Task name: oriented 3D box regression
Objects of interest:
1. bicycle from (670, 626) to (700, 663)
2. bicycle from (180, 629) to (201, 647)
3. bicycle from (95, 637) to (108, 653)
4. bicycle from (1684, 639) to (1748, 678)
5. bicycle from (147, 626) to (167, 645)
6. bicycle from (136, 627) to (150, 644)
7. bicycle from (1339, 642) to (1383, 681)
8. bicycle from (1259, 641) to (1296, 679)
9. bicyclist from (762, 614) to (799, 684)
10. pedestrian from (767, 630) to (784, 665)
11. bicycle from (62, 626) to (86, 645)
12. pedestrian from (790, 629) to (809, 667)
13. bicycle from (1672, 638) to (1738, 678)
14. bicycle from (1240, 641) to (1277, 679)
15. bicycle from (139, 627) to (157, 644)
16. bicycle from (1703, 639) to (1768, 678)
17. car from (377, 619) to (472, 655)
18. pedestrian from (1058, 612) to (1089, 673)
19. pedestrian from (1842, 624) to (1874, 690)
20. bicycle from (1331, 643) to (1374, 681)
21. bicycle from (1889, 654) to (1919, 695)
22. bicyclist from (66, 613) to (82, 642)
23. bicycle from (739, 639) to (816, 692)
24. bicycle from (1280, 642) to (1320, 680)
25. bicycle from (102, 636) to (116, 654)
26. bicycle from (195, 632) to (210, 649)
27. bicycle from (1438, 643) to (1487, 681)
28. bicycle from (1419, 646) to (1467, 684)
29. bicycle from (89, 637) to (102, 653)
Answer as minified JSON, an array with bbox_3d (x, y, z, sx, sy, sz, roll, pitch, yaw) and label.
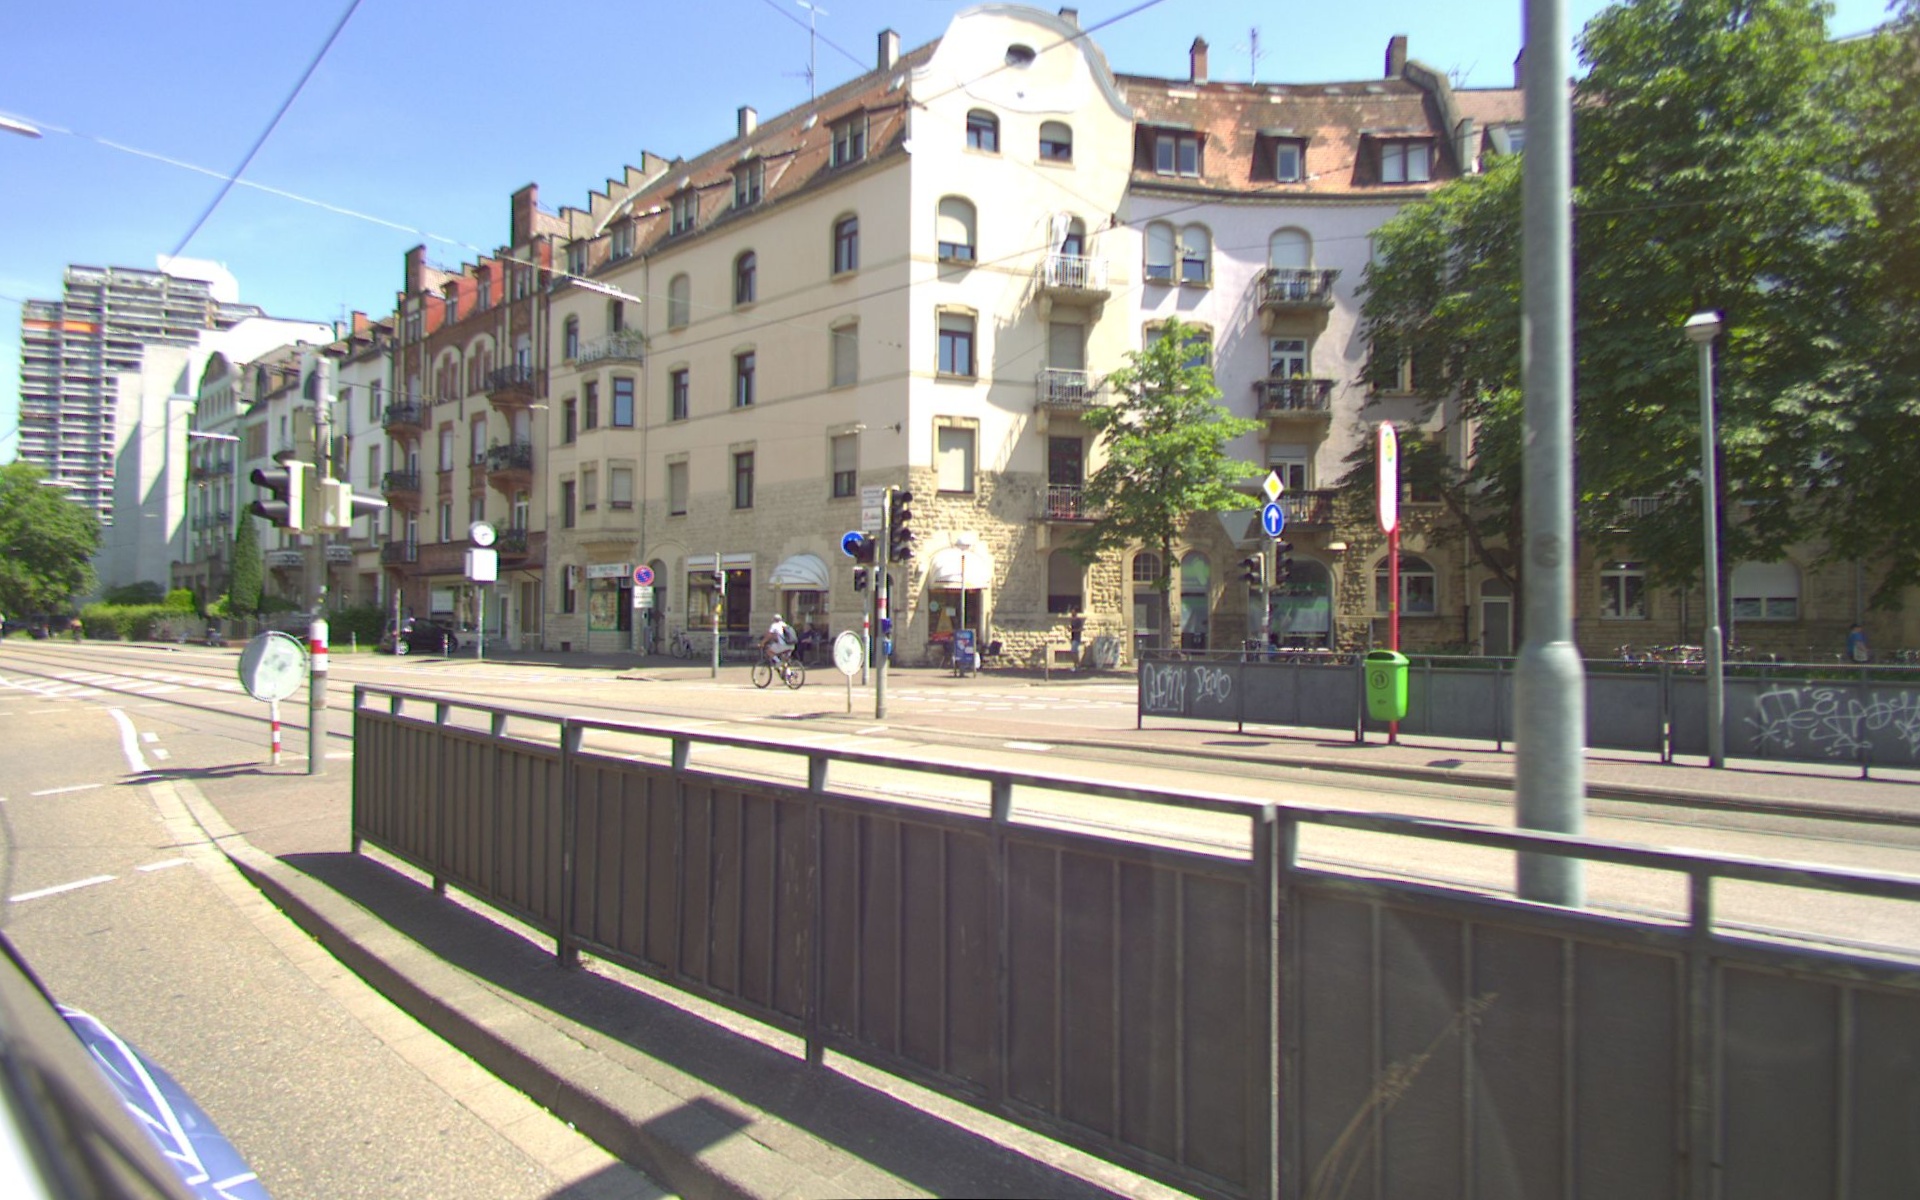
[{"bbox_3d":[-9.515,1.517,34.940,0.447,1.234,2.086,1,-1,-31],"label":"bicycle"},{"bbox_3d":[-42.436,2.090,55.817,1.952,0.955,0.457,-2,-2,39],"label":"bicycle"},{"bbox_3d":[-58.066,3.050,68.459,1.726,1.076,0.336,-1,-2,39],"label":"bicycle"},{"bbox_3d":[19.893,1.529,26.658,0.403,0.963,1.493,0,-1,-9],"label":"bicycle"},{"bbox_3d":[-47.439,2.067,59.757,2.044,1.105,0.487,-2,-2,39],"label":"bicycle"},{"bbox_3d":[-50.669,2.184,62.761,1.898,1.054,0.286,-1,-2,39],"label":"bicycle"},{"bbox_3d":[10.942,1.668,27.670,0.285,0.981,1.676,0,-1,-9],"label":"bicycle"},{"bbox_3d":[8.834,1.666,28.197,0.285,0.981,1.676,0,-1,-9],"label":"bicycle"},{"bbox_3d":[-4.125,1.121,23.294,0.585,1.586,0.602,-1,-2,39],"label":"bicyclist"},{"bbox_3d":[-5.804,1.494,31.841,0.405,1.097,0.351,-1,-2,36],"label":"pedestrian"},{"bbox_3d":[-52.208,2.073,59.627,2.184,1.083,0.638,-2,-3,39],"label":"bicycle"},{"bbox_3d":[-4.959,1.486,31.297,0.405,1.157,0.401,-1,-2,36],"label":"pedestrian"},{"bbox_3d":[19.529,1.517,26.562,0.285,0.981,1.676,0,-1,-9],"label":"bicycle"},{"bbox_3d":[8.107,1.613,27.531,0.285,0.981,1.676,0,-1,-9],"label":"bicycle"},{"bbox_3d":[-49.030,2.154,61.083,2.044,0.978,0.395,-2,-2,39],"label":"bicycle"},{"bbox_3d":[20.473,1.528,26.745,0.403,0.963,1.493,0,-1,-9],"label":"bicycle"},{"bbox_3d":[-23.032,1.579,43.595,1.530,1.483,3.317,-2,-2,43],"label":"car"},{"bbox_3d":[3.286,1.227,29.276,0.727,1.744,0.539,-1,-2,37],"label":"pedestrian"},{"bbox_3d":[24.739,1.566,27.892,0.625,1.790,0.603,-1,-2,43],"label":"pedestrian"},{"bbox_3d":[10.638,1.669,27.478,0.285,0.981,1.676,0,-1,-9],"label":"bicycle"},{"bbox_3d":[24.033,1.876,25.611,0.407,0.963,1.476,-1,-1,28],"label":"bicycle"},{"bbox_3d":[-52.219,1.633,59.650,0.579,1.676,0.604,-2,-3,39],"label":"bicyclist"},{"bbox_3d":[-4.218,1.486,23.324,1.976,1.166,0.622,-2,-2,39],"label":"bicycle"},{"bbox_3d":[9.336,1.665,27.827,0.285,0.981,1.676,0,-1,-9],"label":"bicycle"},{"bbox_3d":[-56.539,2.986,67.246,1.931,1.173,0.336,-1,-2,39],"label":"bicycle"},{"bbox_3d":[-40.031,2.139,53.491,1.613,0.924,0.250,-2,-2,39],"label":"bicycle"},{"bbox_3d":[13.898,1.693,28.044,0.285,0.981,1.676,0,-1,-9],"label":"bicycle"},{"bbox_3d":[13.315,1.775,27.960,0.285,0.981,1.676,0,-1,-9],"label":"bicycle"},{"bbox_3d":[-59.543,3.066,69.681,1.726,1.076,0.336,-1,-2,39],"label":"bicycle"}]
